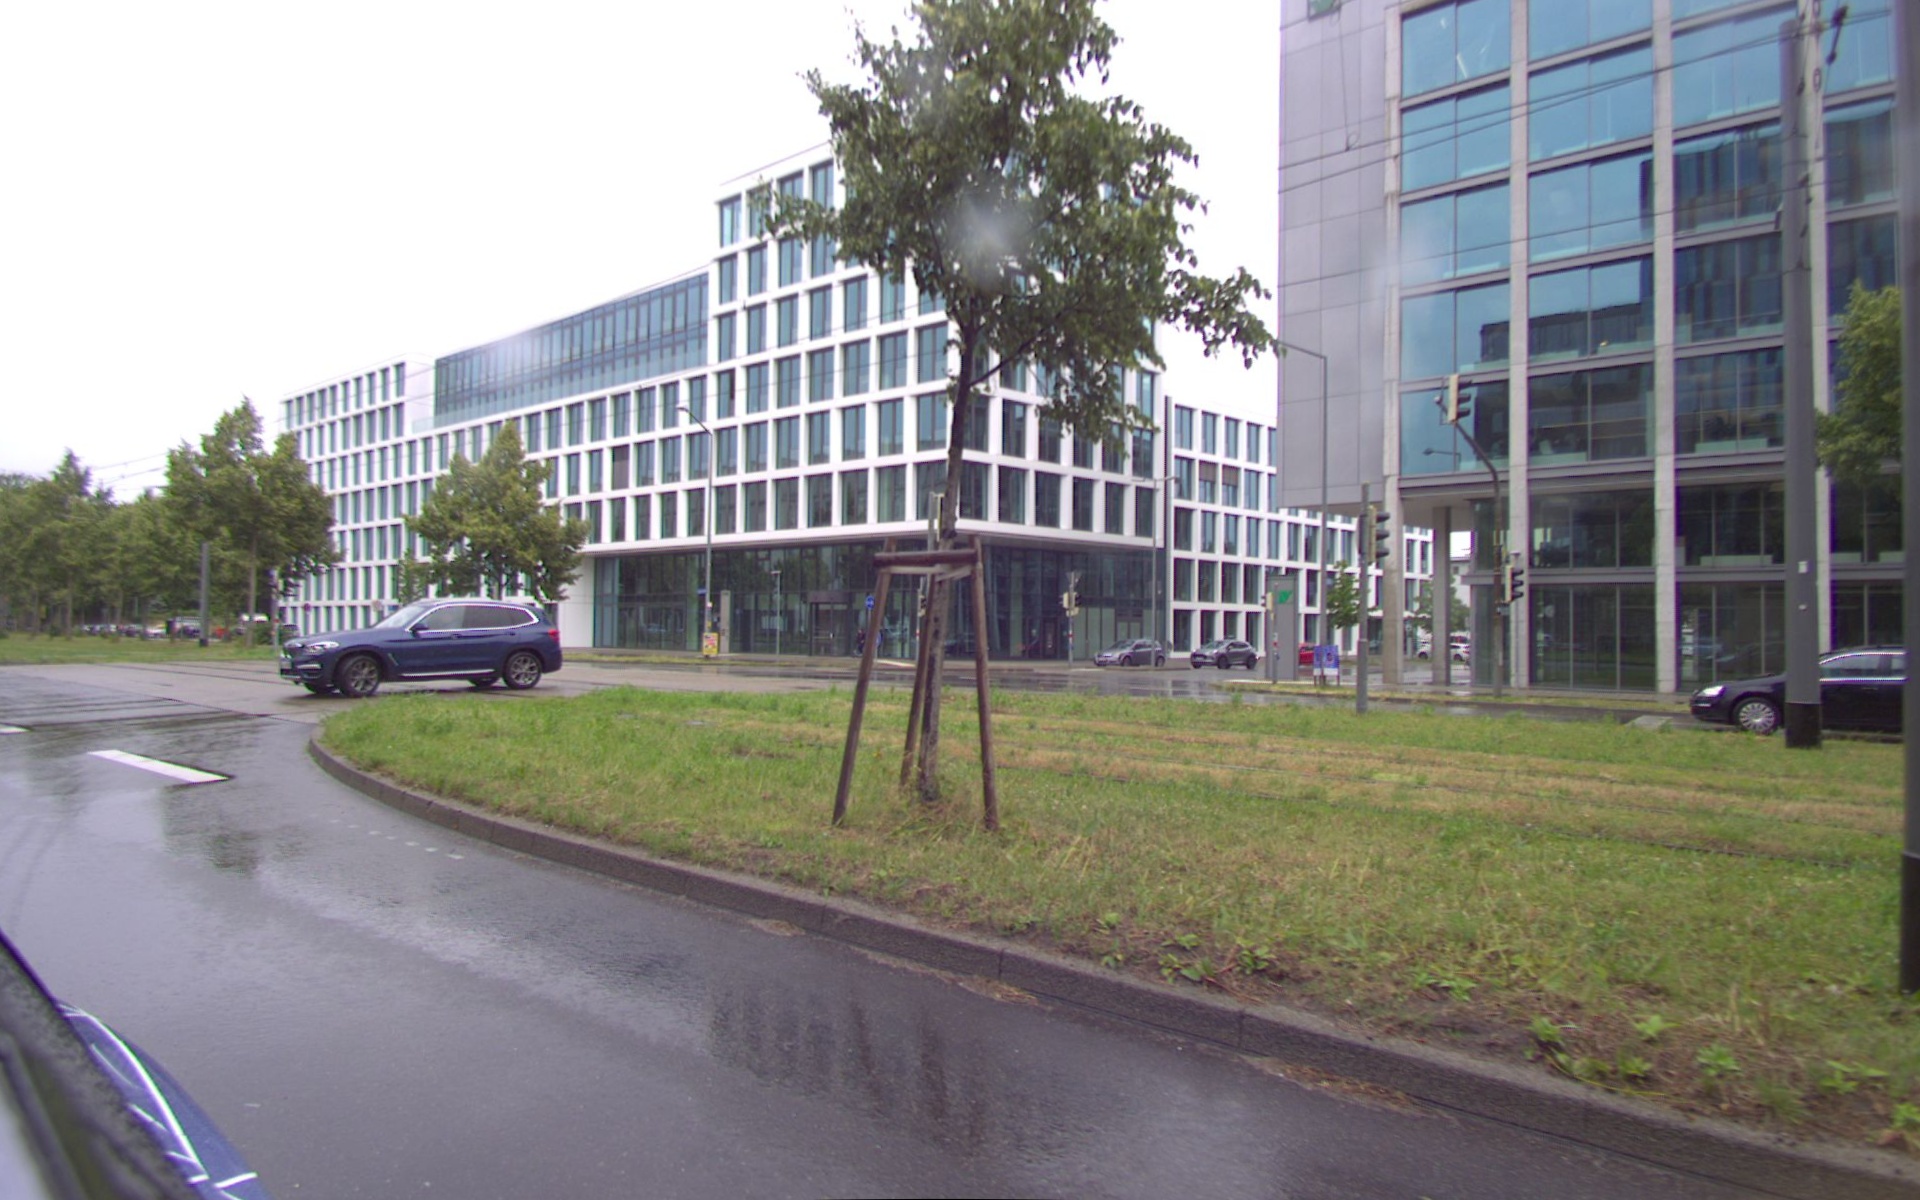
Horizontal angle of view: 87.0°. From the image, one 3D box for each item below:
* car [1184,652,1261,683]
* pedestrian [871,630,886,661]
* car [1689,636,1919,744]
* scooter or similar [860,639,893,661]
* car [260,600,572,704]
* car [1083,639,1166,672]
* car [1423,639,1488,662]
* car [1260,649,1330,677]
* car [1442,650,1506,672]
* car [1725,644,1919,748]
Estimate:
[{"bbox_3d":[13.726,3.506,52.878,4.030,1.447,1.891,1,-4,-40],"label":"car"},{"bbox_3d":[-4.492,2.518,55.839,0.545,1.656,0.627,0,-2,38],"label":"pedestrian"},{"bbox_3d":[14.159,1.351,15.786,4.456,1.571,1.933,-3,-3,37],"label":"car"},{"bbox_3d":[-4.599,2.750,55.798,0.549,1.161,2.137,-3,-4,35],"label":"scooter or similar"},{"bbox_3d":[-9.811,0.939,18.556,1.930,1.673,4.648,-1,-3,43],"label":"car"},{"bbox_3d":[7.963,2.668,48.821,4.033,1.447,1.889,1,-4,-44],"label":"car"},{"bbox_3d":[37.989,3.904,77.646,1.970,1.675,4.003,2,-4,-44],"label":"car"},{"bbox_3d":[19.088,3.587,57.564,4.030,1.447,1.891,1,-4,-40],"label":"car"},{"bbox_3d":[40.724,4.831,80.217,1.970,1.675,4.003,2,-4,-44],"label":"car"},{"bbox_3d":[16.360,1.663,17.988,4.263,1.707,1.933,-3,-4,36],"label":"car"}]
